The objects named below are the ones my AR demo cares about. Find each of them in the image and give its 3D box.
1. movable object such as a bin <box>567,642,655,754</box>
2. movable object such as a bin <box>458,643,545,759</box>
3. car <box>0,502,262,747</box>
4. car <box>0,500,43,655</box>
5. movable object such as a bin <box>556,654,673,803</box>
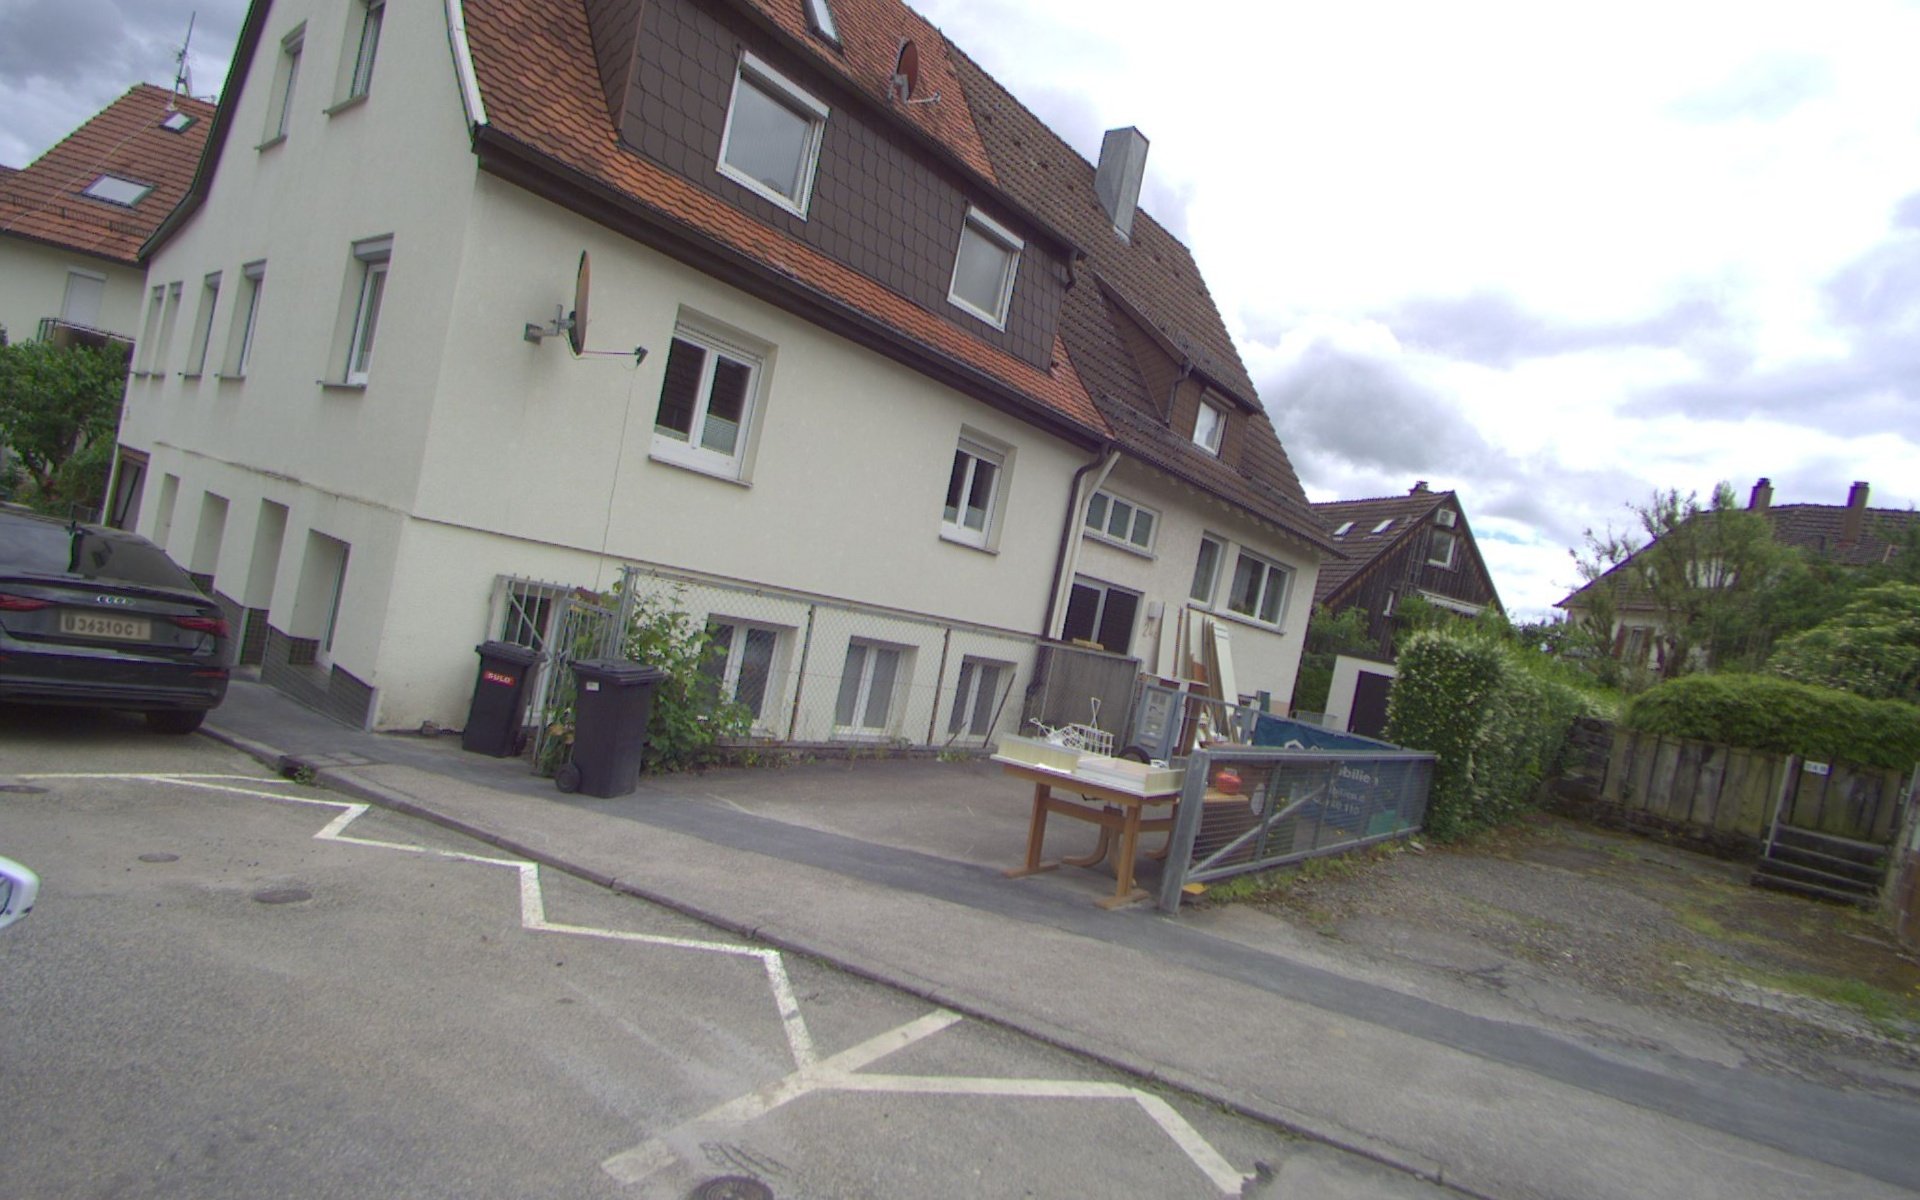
[{"bbox_3d":[-3.083,0.856,8.915,0.530,0.899,0.482,7,1,-2],"label":"movable object such as a bin"},{"bbox_3d":[-3.837,0.835,8.443,0.445,0.876,0.434,9,-1,-10],"label":"movable object such as a bin"},{"bbox_3d":[-7.203,0.007,7.536,3.985,1.423,1.679,7,-5,33],"label":"car"},{"bbox_3d":[-11.328,-0.526,10.308,4.229,1.460,1.799,7,-5,35],"label":"car"},{"bbox_3d":[-2.410,0.874,7.016,0.533,0.928,0.464,7,1,32],"label":"movable object such as a bin"}]
